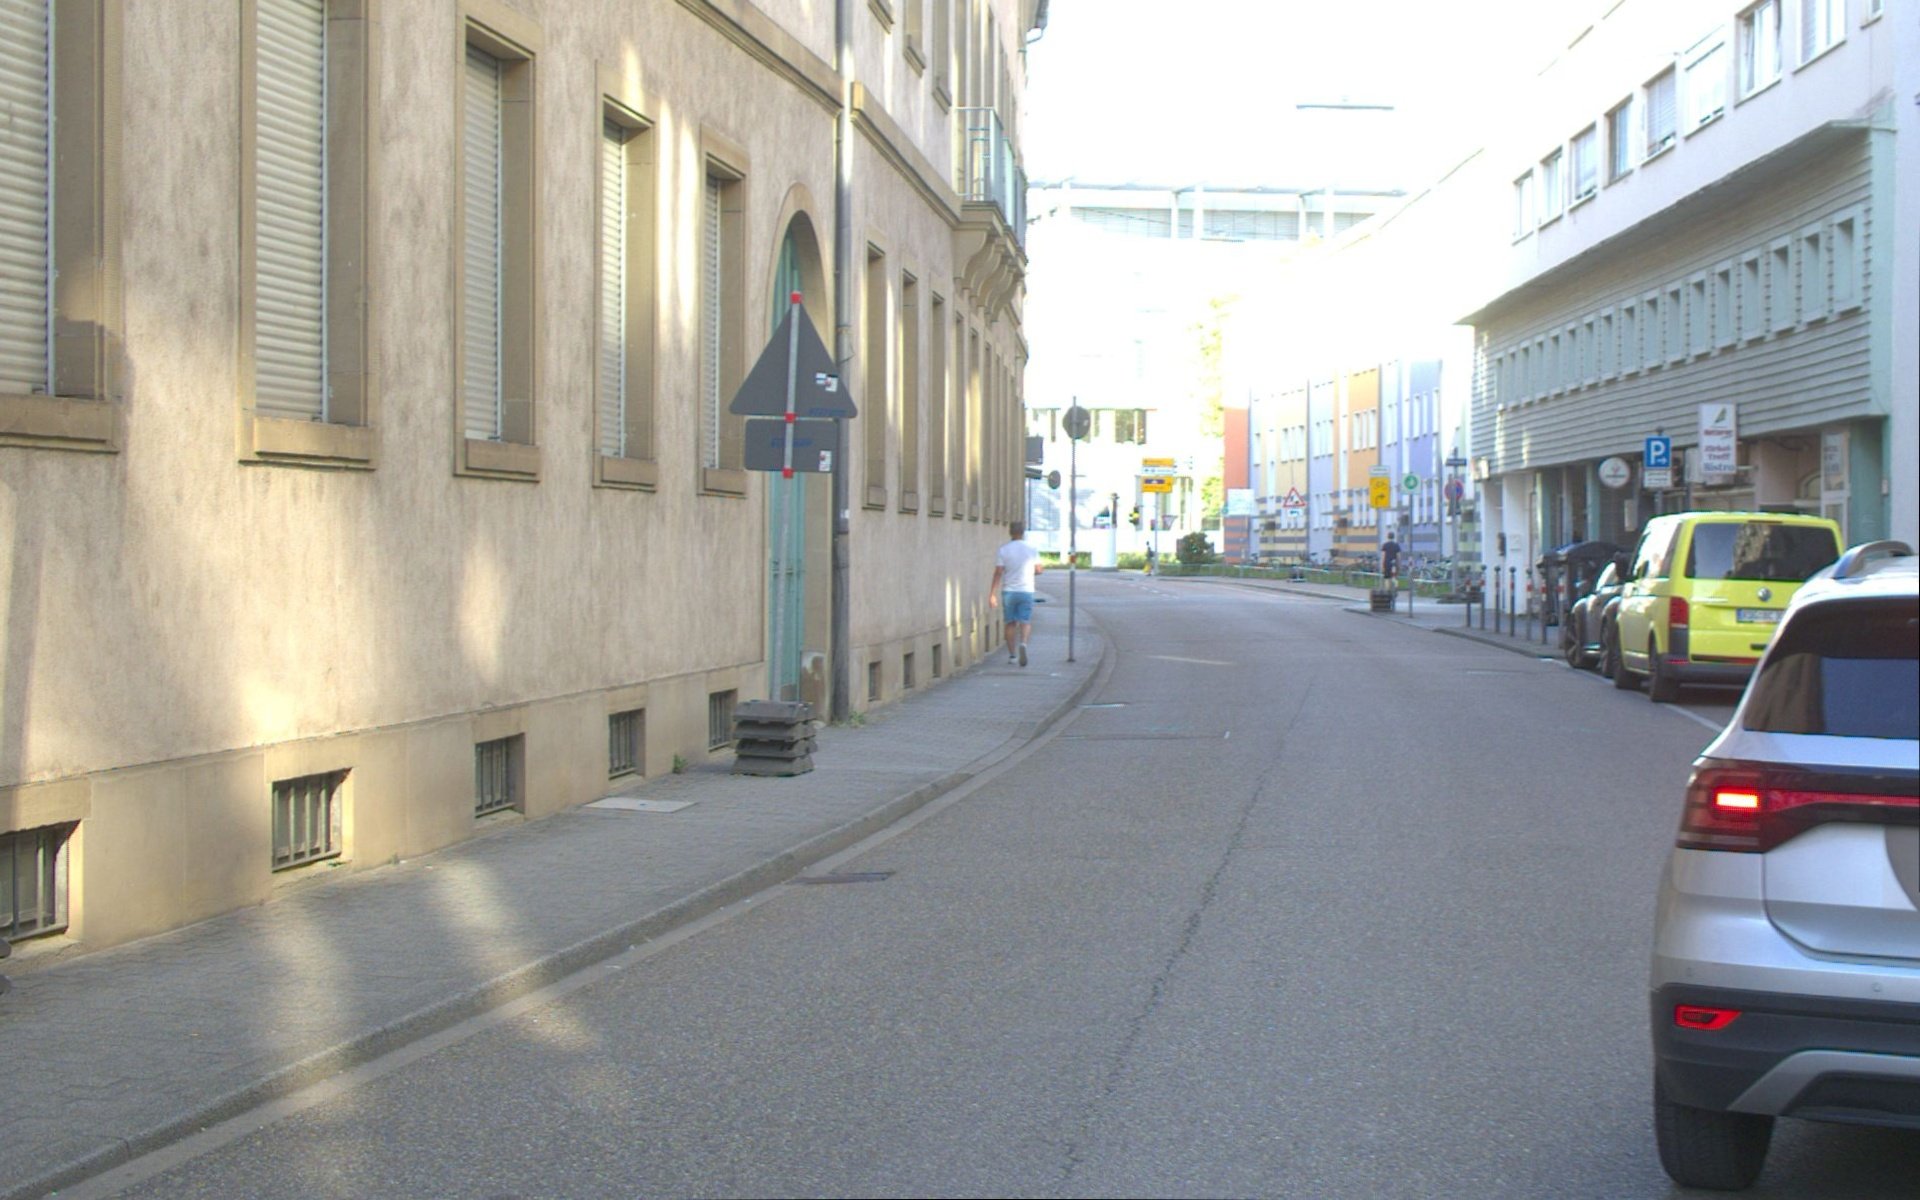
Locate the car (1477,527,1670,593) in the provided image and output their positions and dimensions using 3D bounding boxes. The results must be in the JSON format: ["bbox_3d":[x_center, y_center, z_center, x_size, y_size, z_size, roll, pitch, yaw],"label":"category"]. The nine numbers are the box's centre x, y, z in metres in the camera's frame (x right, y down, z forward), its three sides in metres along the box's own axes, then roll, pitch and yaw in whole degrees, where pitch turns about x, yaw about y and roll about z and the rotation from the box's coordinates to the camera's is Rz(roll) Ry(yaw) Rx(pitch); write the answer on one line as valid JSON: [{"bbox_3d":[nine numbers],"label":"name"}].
[{"bbox_3d":[14.021,-0.918,78.724,4.078,1.477,1.865,0,1,0],"label":"car"}]

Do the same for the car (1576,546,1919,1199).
[{"bbox_3d":[2.993,0.664,9.056,1.827,1.553,3.982,2,2,23],"label":"car"}]

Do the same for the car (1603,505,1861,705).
[{"bbox_3d":[7.833,-0.020,35.305,1.883,1.875,4.845,1,2,5],"label":"car"}]

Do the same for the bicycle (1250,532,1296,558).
[{"bbox_3d":[12.739,-2.238,140.085,1.753,1.000,0.613,-1,1,-5],"label":"bicycle"}]

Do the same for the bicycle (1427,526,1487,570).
[{"bbox_3d":[14.002,-1.462,96.823,1.602,1.137,0.237,-3,2,-8],"label":"bicycle"}]

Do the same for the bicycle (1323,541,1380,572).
[{"bbox_3d":[12.415,-1.370,109.067,1.748,0.943,0.552,1,1,0],"label":"bicycle"}]

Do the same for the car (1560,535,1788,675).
[{"bbox_3d":[8.280,0.014,40.227,1.883,1.484,4.368,1,2,2],"label":"car"}]

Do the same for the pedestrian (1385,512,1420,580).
[{"bbox_3d":[11.786,-1.442,91.572,0.697,1.754,1.189,-2,1,0],"label":"pedestrian"}]

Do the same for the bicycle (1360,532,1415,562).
[{"bbox_3d":[13.803,-1.711,110.992,1.748,0.943,0.326,-1,1,1],"label":"bicycle"}]

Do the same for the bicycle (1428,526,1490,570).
[{"bbox_3d":[14.017,-1.456,96.547,1.640,1.137,0.283,-3,2,-8],"label":"bicycle"}]

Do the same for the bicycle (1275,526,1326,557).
[{"bbox_3d":[12.460,-2.155,125.819,1.810,1.133,0.552,0,1,-2],"label":"bicycle"}]

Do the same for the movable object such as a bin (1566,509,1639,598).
[{"bbox_3d":[11.091,-0.794,59.374,0.981,1.475,1.551,-1,-1,2],"label":"movable object such as a bin"}]

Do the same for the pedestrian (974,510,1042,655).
[{"bbox_3d":[0.571,-0.213,40.538,0.693,1.664,0.875,2,1,4],"label":"pedestrian"}]

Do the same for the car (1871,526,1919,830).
[{"bbox_3d":[6.194,0.447,18.837,1.826,1.649,4.492,1,2,9],"label":"car"}]

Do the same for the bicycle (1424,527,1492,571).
[{"bbox_3d":[13.784,-1.412,95.136,1.748,1.137,0.552,-3,2,0],"label":"bicycle"}]

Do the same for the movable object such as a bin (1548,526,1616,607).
[{"bbox_3d":[11.037,-0.588,61.011,0.981,1.380,1.320,-1,-1,2],"label":"movable object such as a bin"}]
